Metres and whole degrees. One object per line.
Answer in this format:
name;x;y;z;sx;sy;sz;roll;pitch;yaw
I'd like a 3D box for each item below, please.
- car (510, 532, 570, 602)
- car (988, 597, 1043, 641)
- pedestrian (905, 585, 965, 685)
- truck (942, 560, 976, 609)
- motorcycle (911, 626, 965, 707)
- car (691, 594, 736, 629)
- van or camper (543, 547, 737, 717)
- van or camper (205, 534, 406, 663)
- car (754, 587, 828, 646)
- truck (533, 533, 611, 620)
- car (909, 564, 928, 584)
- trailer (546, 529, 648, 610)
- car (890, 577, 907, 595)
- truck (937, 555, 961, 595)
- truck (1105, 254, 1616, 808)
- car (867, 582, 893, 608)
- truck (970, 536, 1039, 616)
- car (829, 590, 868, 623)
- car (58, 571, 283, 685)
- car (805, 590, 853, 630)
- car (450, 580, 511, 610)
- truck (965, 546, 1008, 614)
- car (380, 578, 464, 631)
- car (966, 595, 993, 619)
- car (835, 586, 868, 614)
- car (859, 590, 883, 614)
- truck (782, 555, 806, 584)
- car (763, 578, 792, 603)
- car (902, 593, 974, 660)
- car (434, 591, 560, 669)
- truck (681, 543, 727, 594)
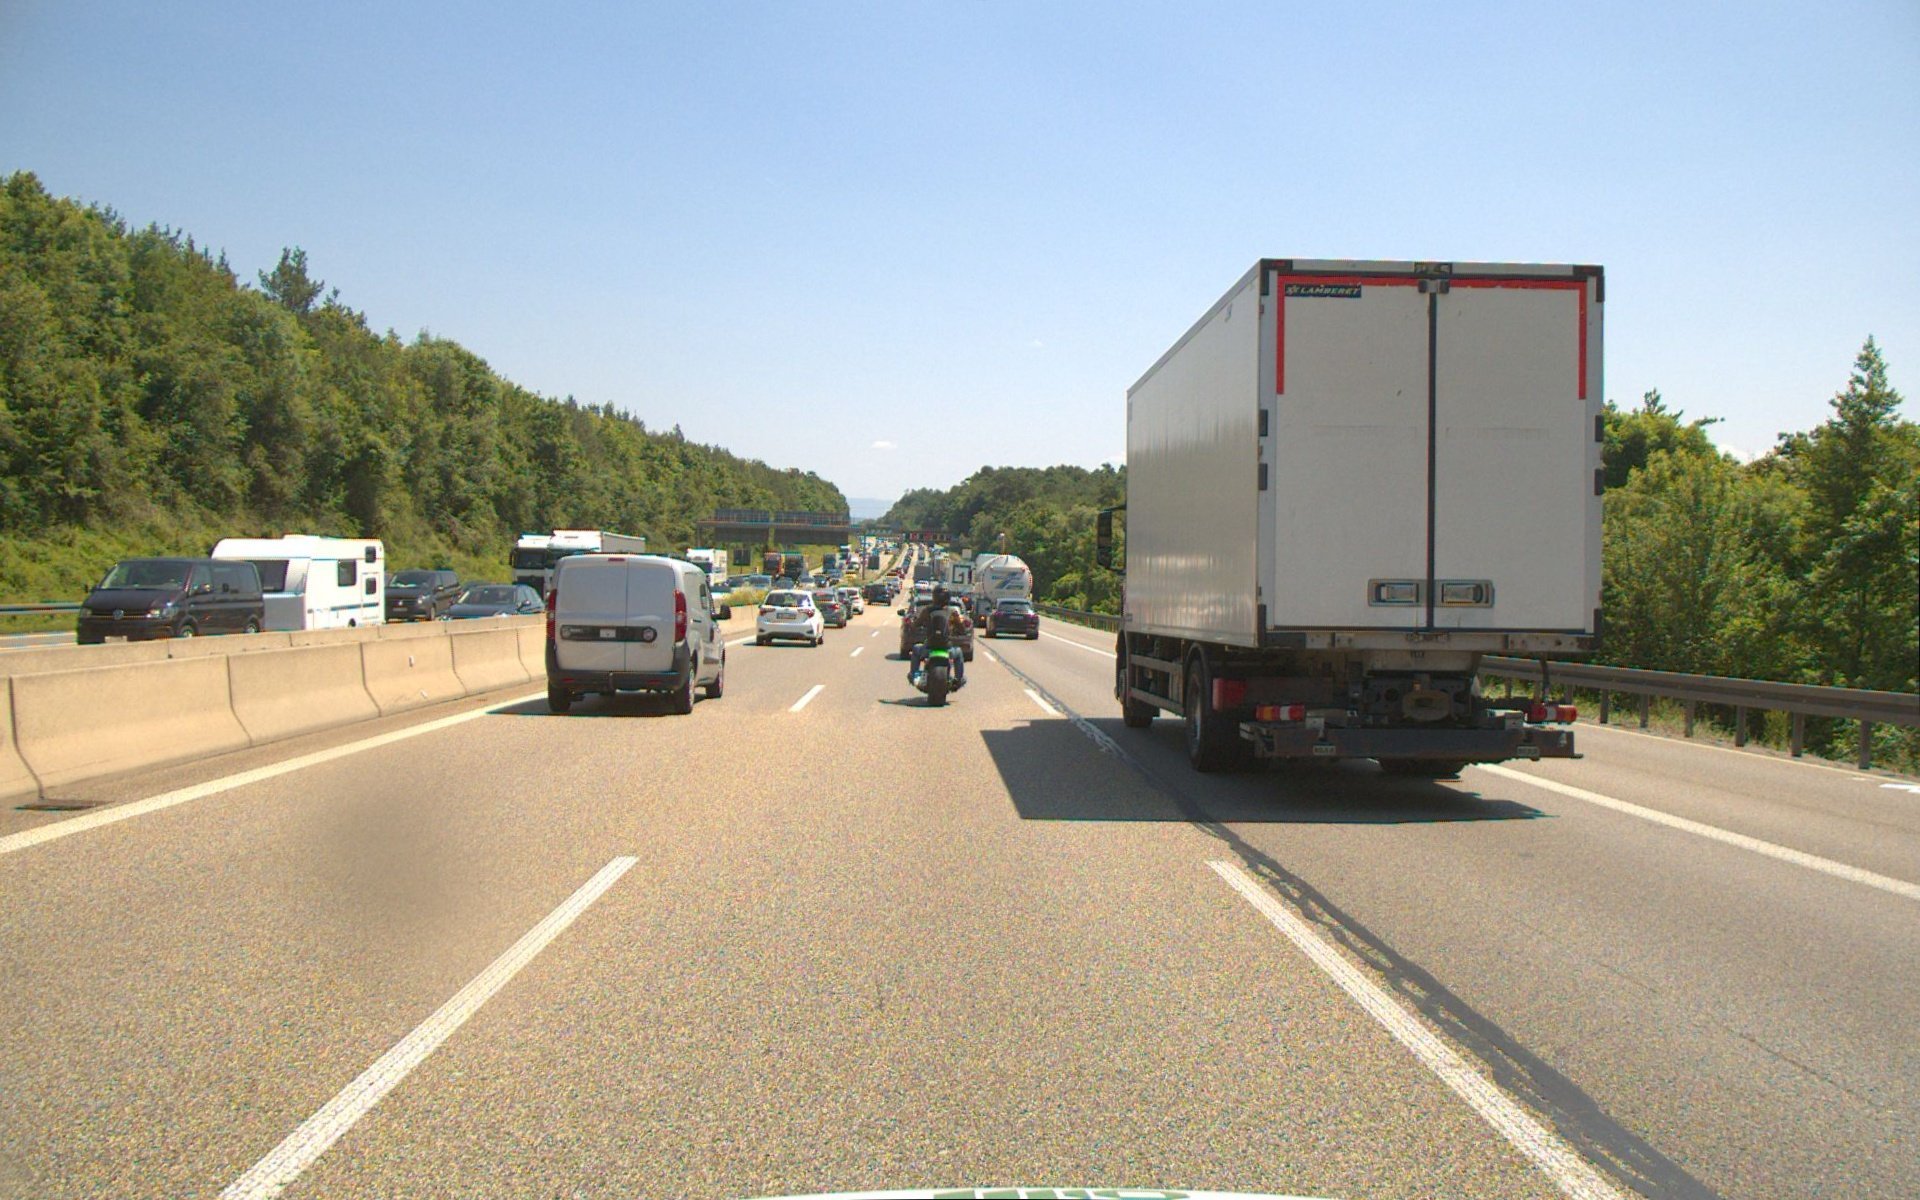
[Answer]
car;-24.080;-1.842;95.088;2.399;3.941;4.564;0;0;-2
car;2.041;0.696;62.257;1.792;1.496;3.999;3;0;-1
pedestrian;-0.347;0.478;23.299;0.832;1.385;0.961;0;0;0
truck;-0.109;-1.606;166.612;2.972;4.621;9.980;3;0;-1
motorcycle;-0.300;0.917;23.429;0.677;1.033;2.121;2;0;0
car;-13.400;0.621;90.209;1.953;1.825;3.999;0;0;-2
van or camper;-4.033;0.385;21.495;1.760;1.925;4.158;2;0;-2
van or camper;-15.490;-0.051;39.658;2.185;2.809;6.835;1;0;-1
car;-4.618;0.415;45.667;1.665;1.504;3.999;2;1;-1
truck;-20.160;-1.193;86.192;2.783;4.288;5.658;1;0;-1
car;-5.776;-3.647;229.671;2.454;2.632;5.015;2;0;-1
trailer;-20.206;-1.536;93.189;2.777;4.238;14.734;0;0;-1
car;-7.068;-1.636;190.581;1.890;2.049;3.999;0;0;-1
truck;-1.565;-3.381;227.653;2.972;5.228;9.980;3;0;-1
truck;3.305;-0.515;16.760;2.633;3.944;9.778;-1;0;-1
car;-6.183;-0.373;128.364;1.842;1.892;3.999;2;0;-1
truck;2.094;-1.084;81.322;2.927;3.736;9.285;0;0;-1
car;-5.511;0.296;82.126;1.665;1.504;3.999;2;1;-1
car;-15.213;0.512;32.239;1.953;2.049;5.191;0;0;-1
car;-5.231;0.383;66.314;1.665;1.504;3.999;2;1;-1
car;-23.276;-0.258;80.481;1.727;1.394;4.500;1;0;-1
truck;1.406;-1.044;90.239;1.954;3.584;4.747;0;0;-4
car;-19.476;0.158;60.078;1.699;1.841;4.861;1;0;-4
car;1.351;0.451;116.227;1.751;1.583;3.802;2;1;-1
car;-6.200;-0.019;94.496;1.665;1.504;3.999;2;1;-1
car;-7.689;0.210;143.613;1.953;2.049;3.999;0;0;-1
truck;-23.783;-4.362;236.854;2.847;4.043;7.766;0;0;-2
car;-14.543;-0.734;131.996;1.873;1.879;5.034;0;0;-1
car;-0.489;0.594;39.797;1.500;1.536;4.002;0;0;3
car;-11.494;0.726;41.349;1.907;1.833;4.692;0;0;-1
truck;-22.448;-2.686;145.283;2.745;4.238;7.599;1;0;0
